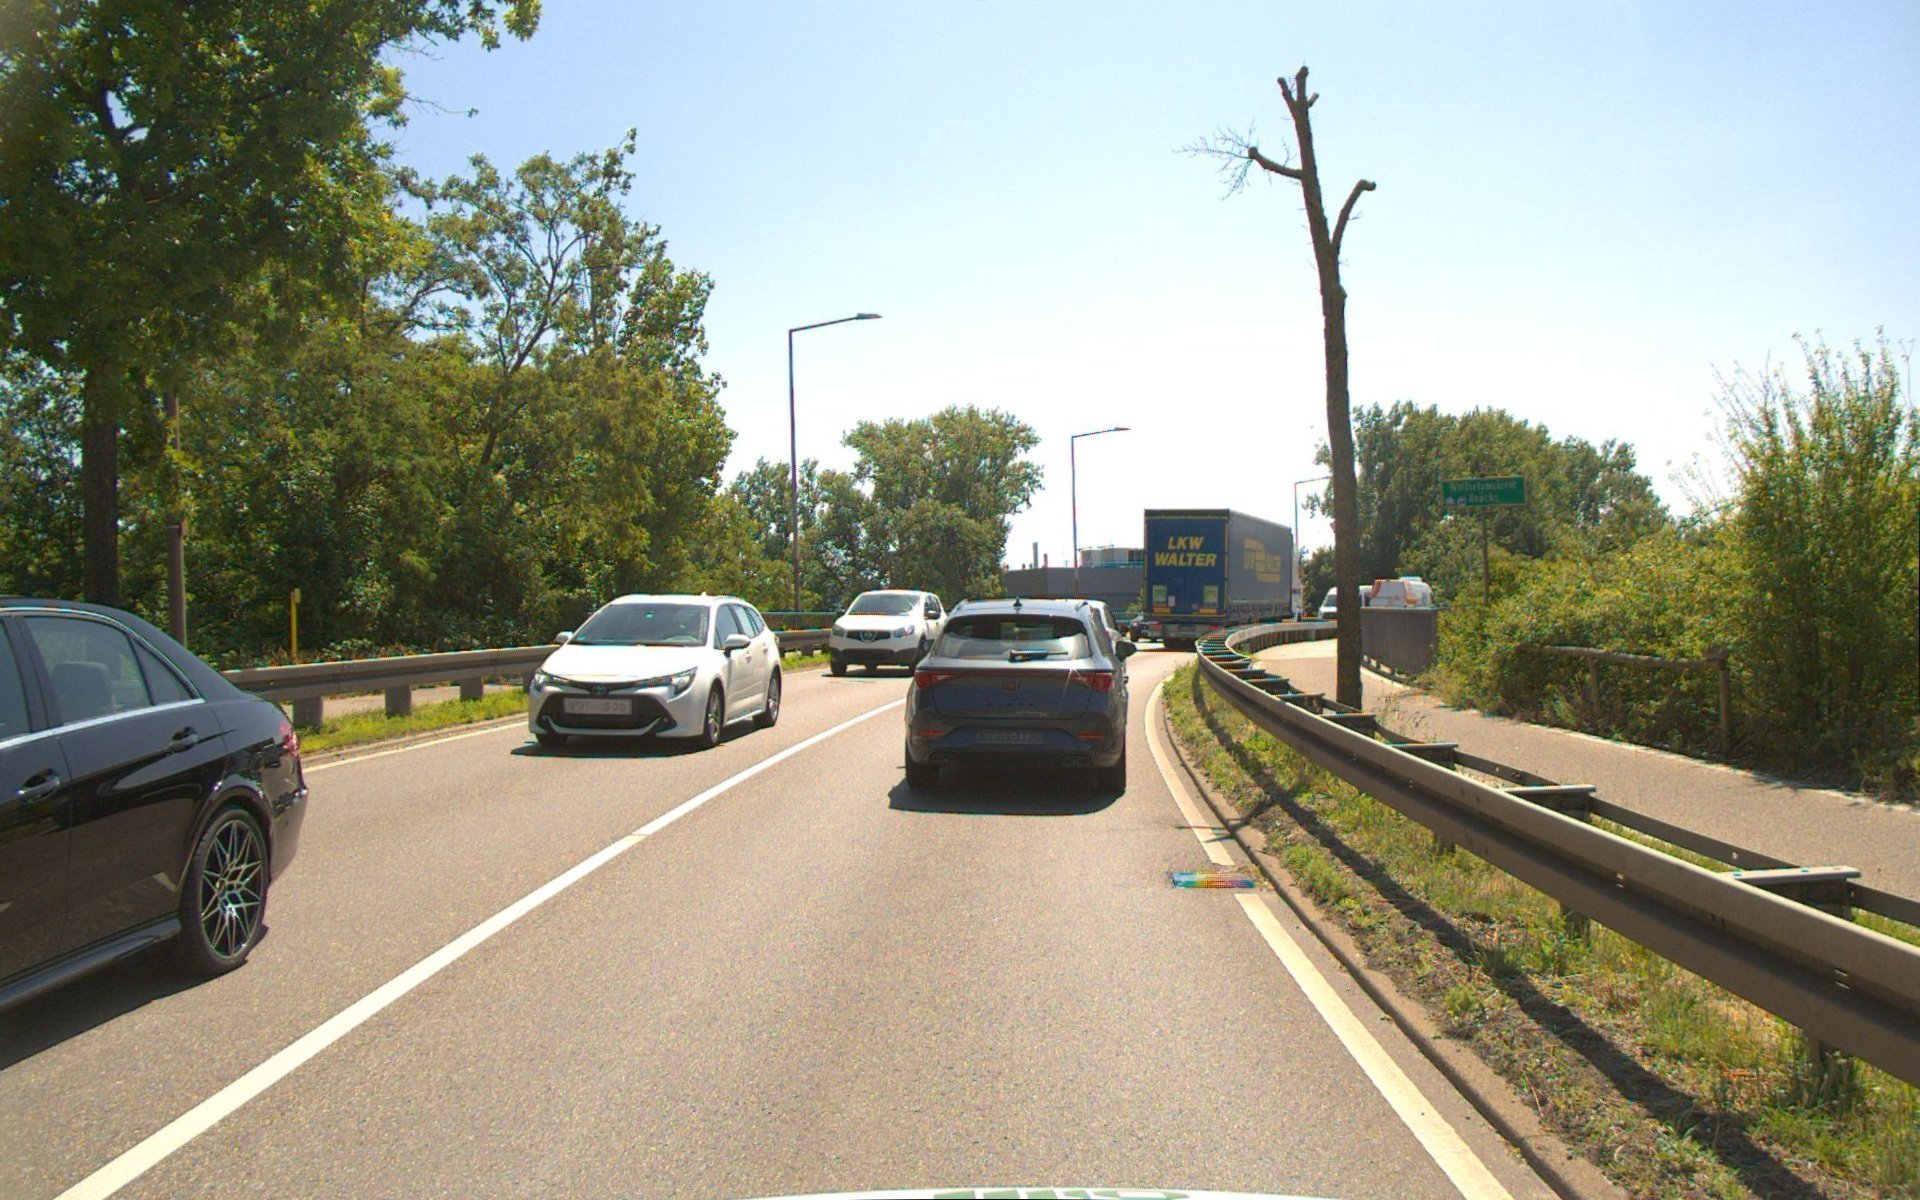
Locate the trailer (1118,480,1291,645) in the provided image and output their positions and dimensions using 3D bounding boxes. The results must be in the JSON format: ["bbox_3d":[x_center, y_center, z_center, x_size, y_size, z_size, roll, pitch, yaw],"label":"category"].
[{"bbox_3d":[8.232,-1.038,53.750,3.069,4.695,12.951,1,0,19],"label":"trailer"}]

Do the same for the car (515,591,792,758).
[{"bbox_3d":[-2.999,0.672,17.144,1.665,1.472,4.462,1,0,5],"label":"car"}]

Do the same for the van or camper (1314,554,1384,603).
[{"bbox_3d":[21.185,-1.124,89.965,2.011,2.582,5.870,1,0,31],"label":"van or camper"}]

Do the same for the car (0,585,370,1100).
[{"bbox_3d":[-3.664,0.690,5.122,1.807,1.493,4.742,1,0,2],"label":"car"}]

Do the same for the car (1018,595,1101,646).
[{"bbox_3d":[3.026,0.586,49.660,1.680,1.452,4.110,0,0,15],"label":"car"}]

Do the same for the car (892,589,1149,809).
[{"bbox_3d":[0.566,0.692,13.555,1.806,1.525,3.760,0,0,4],"label":"car"}]

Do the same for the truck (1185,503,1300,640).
[{"bbox_3d":[10.364,-0.929,60.059,3.103,4.665,7.400,1,-1,17],"label":"truck"}]

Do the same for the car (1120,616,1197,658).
[{"bbox_3d":[7.406,1.341,61.317,1.720,1.468,4.568,1,0,21],"label":"car"}]

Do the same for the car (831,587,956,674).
[{"bbox_3d":[-1.224,0.562,32.332,1.709,1.573,4.396,0,0,8],"label":"car"}]

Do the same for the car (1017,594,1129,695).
[{"bbox_3d":[1.884,0.677,26.732,1.559,1.486,3.547,1,0,7],"label":"car"}]

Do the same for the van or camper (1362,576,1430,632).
[{"bbox_3d":[22.260,0.201,84.316,2.160,2.758,5.918,0,0,27],"label":"van or camper"}]
